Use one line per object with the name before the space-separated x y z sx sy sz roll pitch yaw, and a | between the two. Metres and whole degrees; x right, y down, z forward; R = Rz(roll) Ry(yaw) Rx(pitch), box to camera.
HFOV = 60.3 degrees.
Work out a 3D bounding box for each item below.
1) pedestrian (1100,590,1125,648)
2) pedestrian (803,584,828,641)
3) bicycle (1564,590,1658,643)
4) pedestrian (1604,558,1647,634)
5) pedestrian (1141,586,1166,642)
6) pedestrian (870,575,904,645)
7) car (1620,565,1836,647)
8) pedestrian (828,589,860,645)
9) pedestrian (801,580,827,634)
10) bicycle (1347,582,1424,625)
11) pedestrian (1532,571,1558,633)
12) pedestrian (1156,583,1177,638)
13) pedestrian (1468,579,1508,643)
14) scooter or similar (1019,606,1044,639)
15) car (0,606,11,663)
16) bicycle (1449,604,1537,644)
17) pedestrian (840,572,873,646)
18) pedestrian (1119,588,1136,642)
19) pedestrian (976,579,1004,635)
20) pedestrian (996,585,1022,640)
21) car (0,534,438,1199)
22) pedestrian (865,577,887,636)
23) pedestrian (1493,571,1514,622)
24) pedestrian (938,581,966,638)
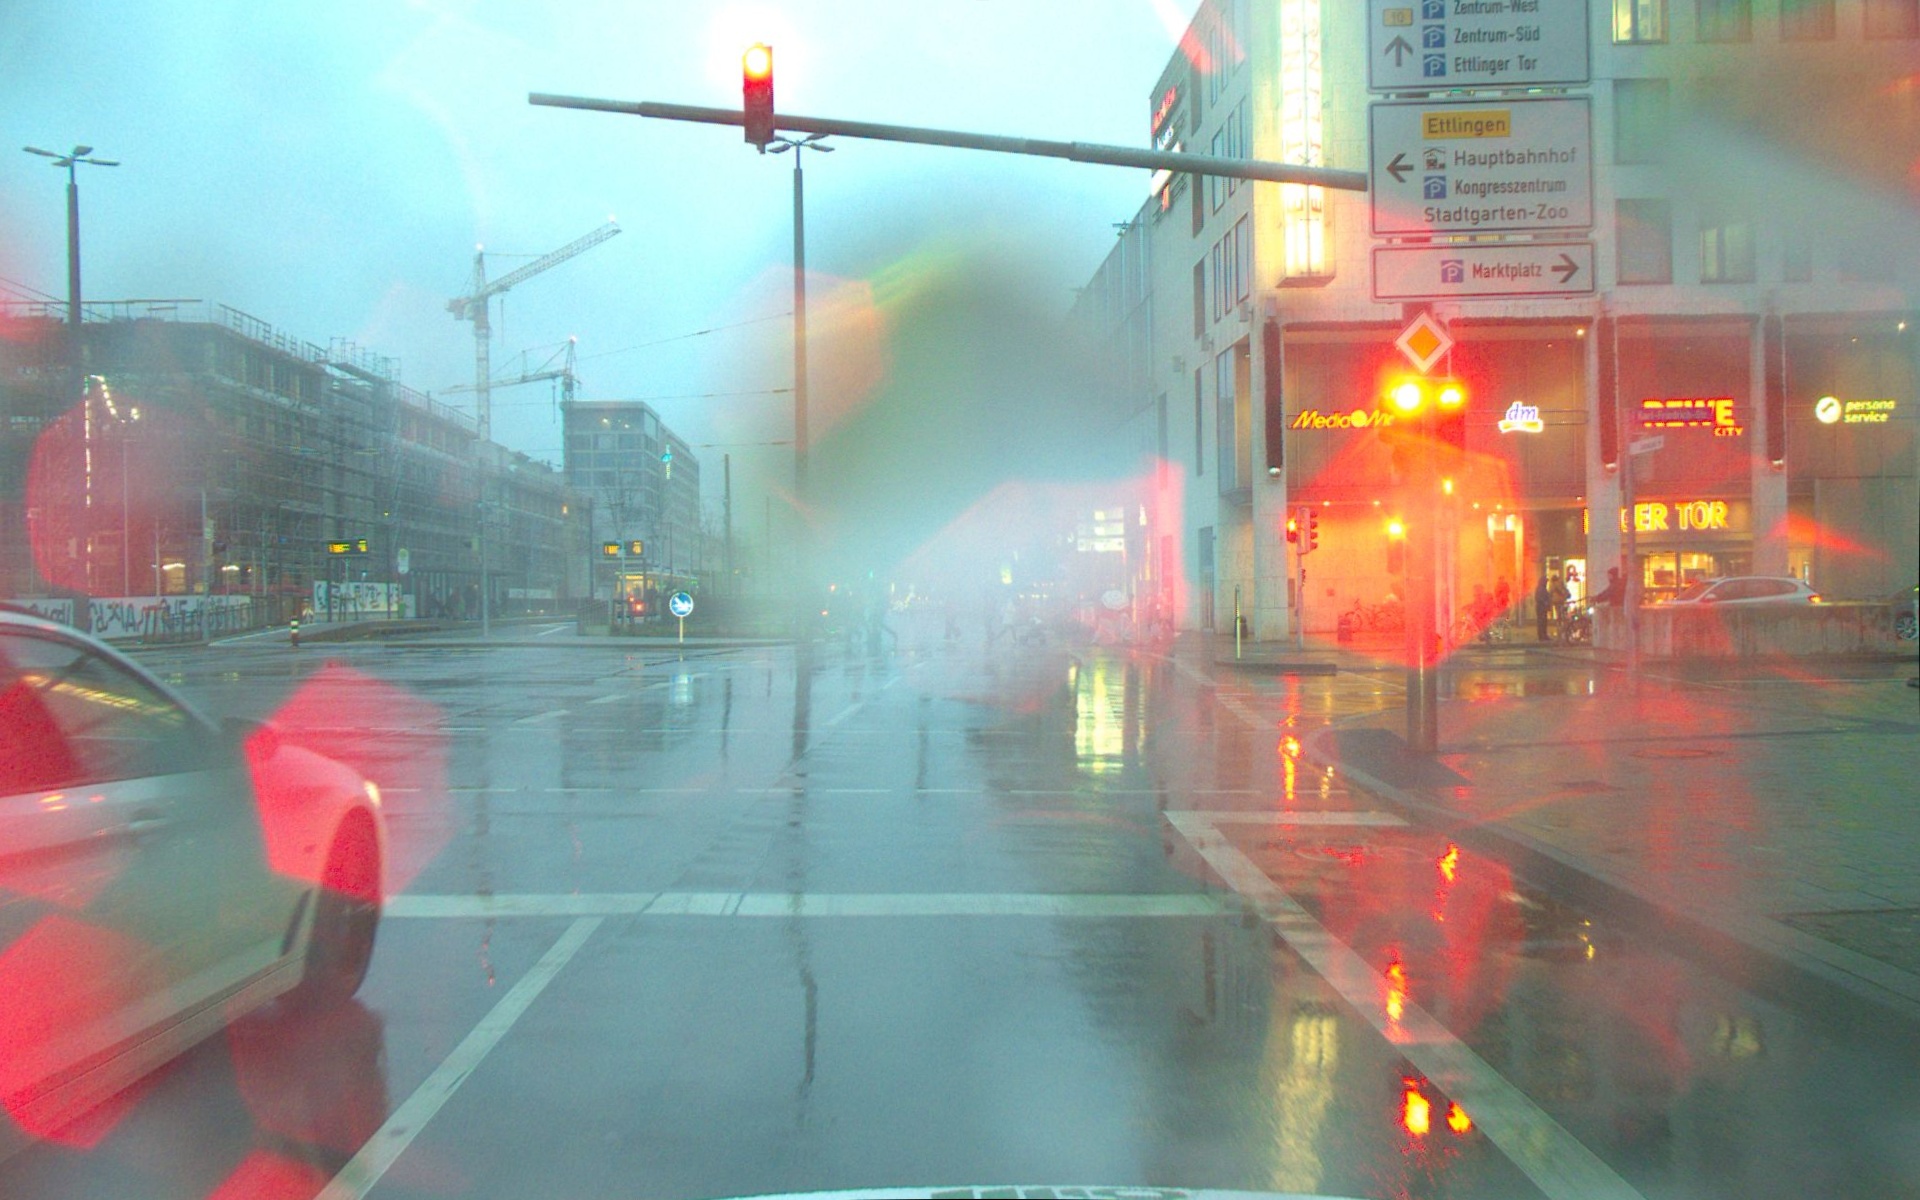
pedestrian | 4.783 0.600 51.994 0.688 1.791 0.667 -1 0 -1
pedestrian | -4.286 0.367 49.071 0.692 1.647 0.613 -1 0 -3
bicycle | 14.117 0.352 35.911 1.806 1.112 0.618 -1 0 15
pedestrian | 14.417 -0.089 35.826 0.764 1.623 0.613 -1 0 15
pedestrian | 6.174 0.447 52.872 0.688 1.791 0.652 -1 0 -1
pedestrian | -2.152 0.292 48.632 0.770 2.049 0.604 -1 0 -39
car | 17.851 0.138 38.557 4.213 1.792 1.707 -1 0 2
pedestrian | -3.464 0.508 49.433 0.802 1.647 0.537 -1 0 37
pedestrian | -4.470 0.211 50.723 0.692 1.647 0.680 -1 0 1
bicycle | 13.998 0.107 54.477 2.378 1.352 0.634 -1 0 -6
pedestrian | 16.362 0.048 46.237 0.526 1.715 0.547 -1 0 37
pedestrian | 6.733 0.343 53.913 0.605 1.791 0.482 -1 0 -1
pedestrian | 13.463 0.277 42.195 0.798 1.597 0.536 -1 0 -4
scooter or similar | 2.259 0.705 52.028 0.725 1.011 0.401 -1 0 12
car | -35.268 1.265 58.954 1.729 2.049 3.978 -1 0 -19
bicycle | 13.605 0.609 42.208 2.086 1.009 0.541 0 -1 -4
pedestrian | -2.983 0.252 47.574 0.682 2.124 0.604 -1 0 -40
pedestrian | 5.516 0.494 54.519 0.501 1.791 0.374 -1 0 -1
pedestrian | 0.922 0.222 51.328 0.826 1.718 0.677 -1 0 -2
pedestrian | 1.537 0.391 52.170 0.725 1.696 0.401 -1 0 12
car | -2.991 0.650 4.190 1.871 1.547 4.922 -1 0 -2
pedestrian | -2.605 0.198 51.188 0.607 1.776 0.612 -1 0 -6
pedestrian | 18.787 -0.127 57.188 0.526 1.748 0.500 -1 0 37
pedestrian | -0.249 0.274 50.314 0.814 1.709 0.619 -1 0 0
